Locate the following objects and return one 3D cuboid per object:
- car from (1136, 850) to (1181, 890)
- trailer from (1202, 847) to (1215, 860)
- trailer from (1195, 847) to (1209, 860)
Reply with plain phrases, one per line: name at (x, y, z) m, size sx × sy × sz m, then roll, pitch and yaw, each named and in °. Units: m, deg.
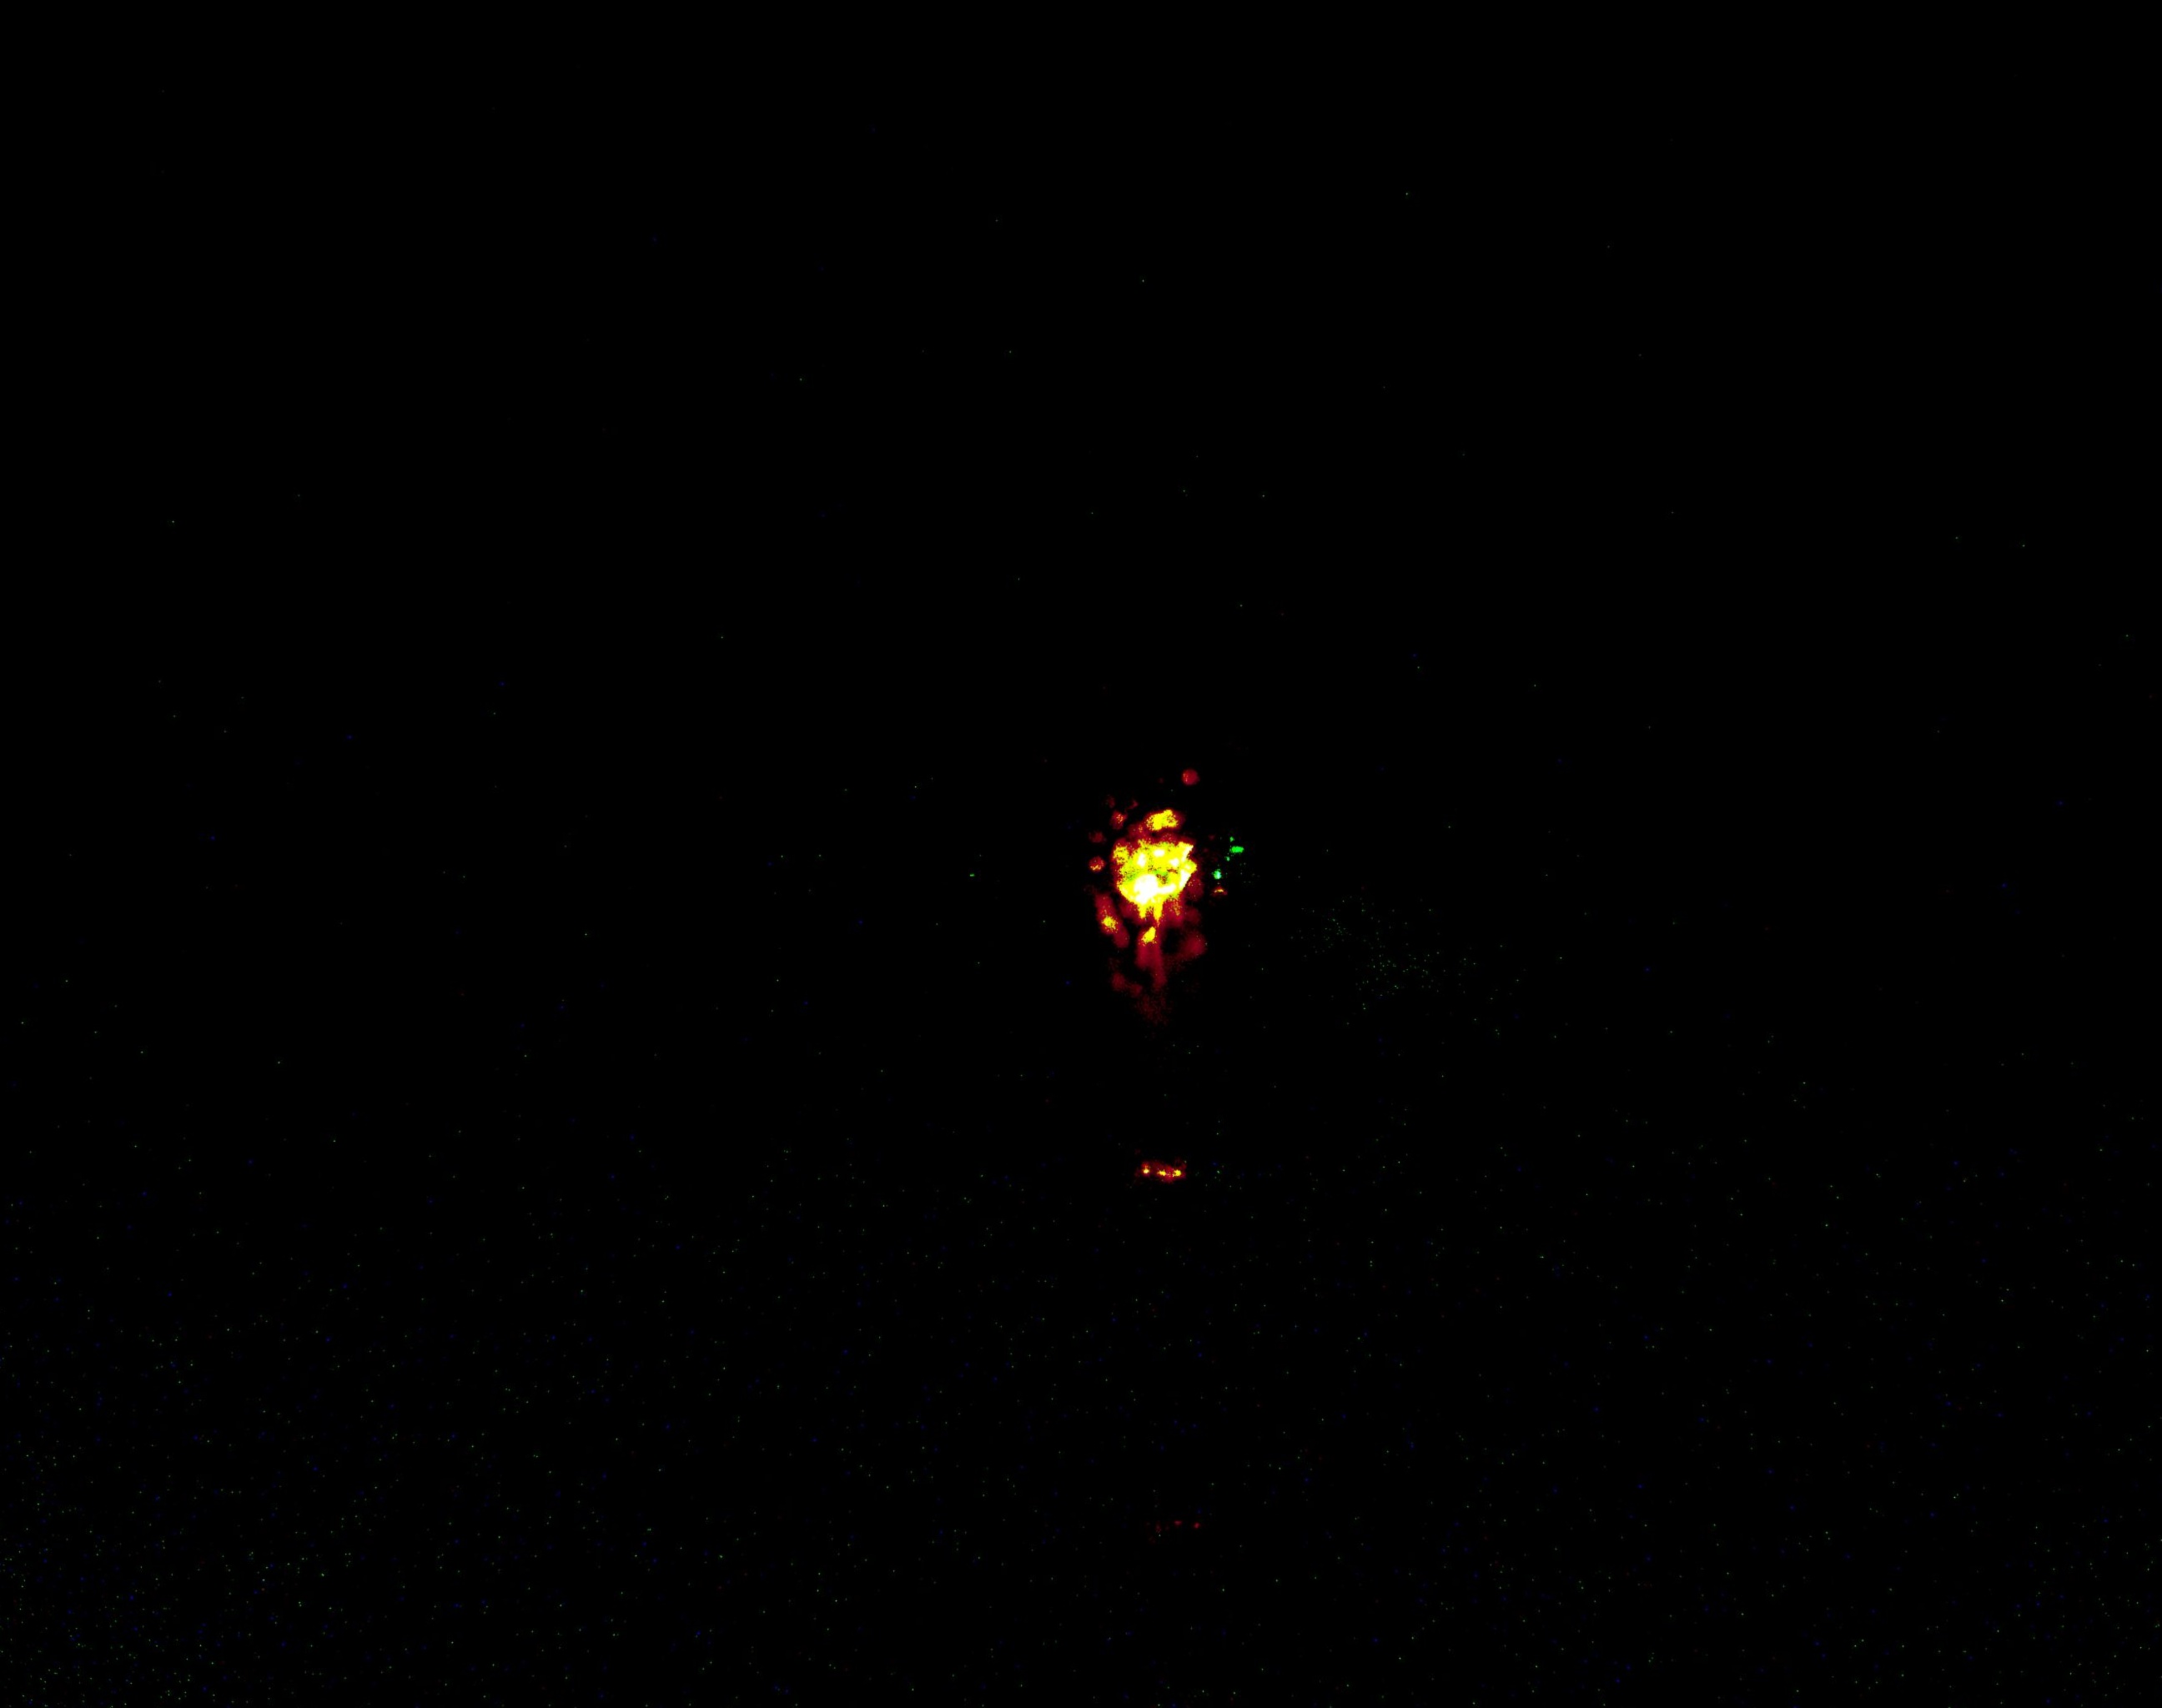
car at (3.417, 0.663, 36.011) m, size 1.793 × 1.628 × 3.620 m, roll -2°, pitch 0°, yaw 5°
trailer at (23.126, -0.018, 147.756) m, size 1.601 × 2.352 × 4.427 m, roll 0°, pitch 0°, yaw -2°
trailer at (22.659, -0.013, 152.683) m, size 1.627 × 2.364 × 4.645 m, roll 0°, pitch 0°, yaw -5°
